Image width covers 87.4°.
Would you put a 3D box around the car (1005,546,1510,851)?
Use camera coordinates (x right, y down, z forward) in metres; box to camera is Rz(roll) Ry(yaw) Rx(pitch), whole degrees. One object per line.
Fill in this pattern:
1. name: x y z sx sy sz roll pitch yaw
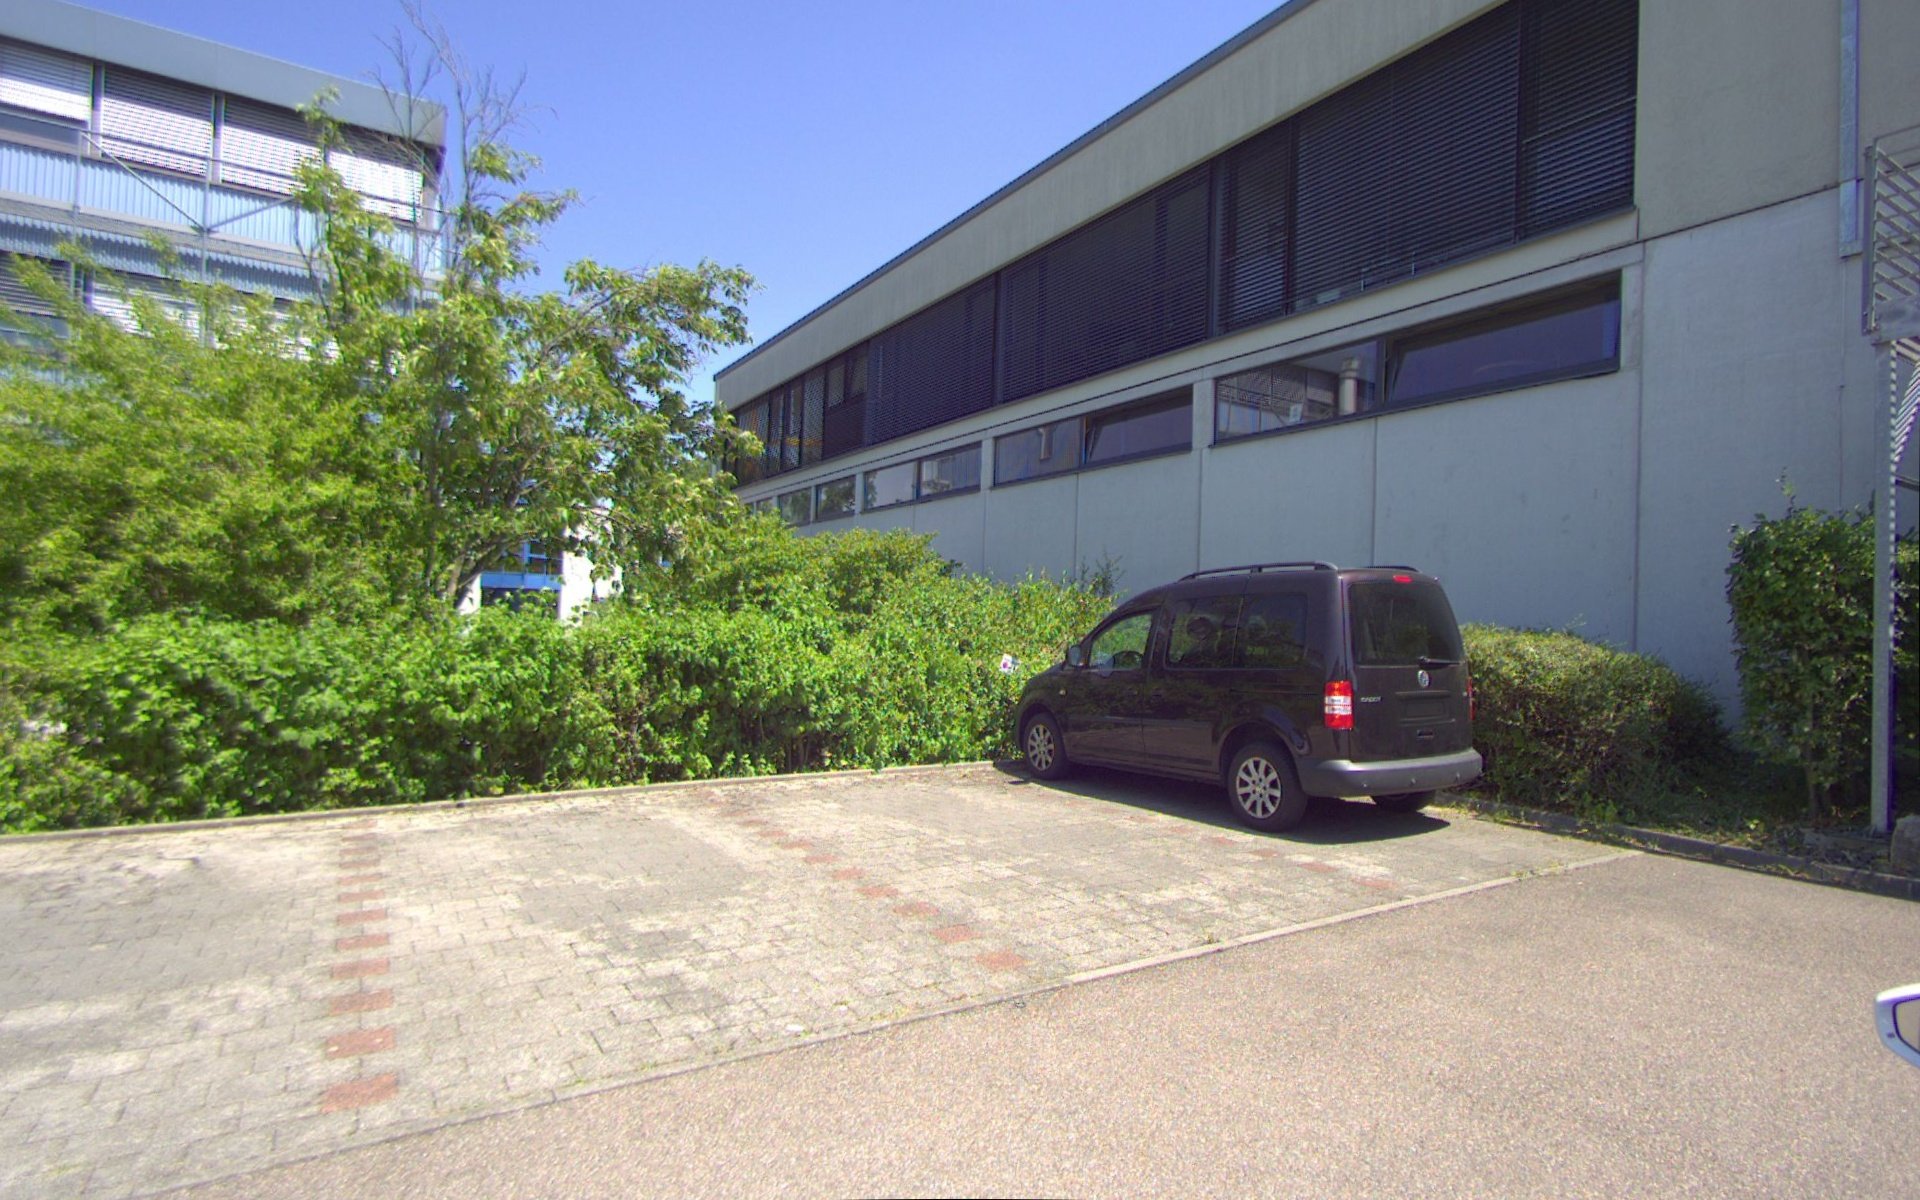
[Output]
1. car: 2.182 0.646 8.473 1.659 1.909 4.038 1 -1 -31
